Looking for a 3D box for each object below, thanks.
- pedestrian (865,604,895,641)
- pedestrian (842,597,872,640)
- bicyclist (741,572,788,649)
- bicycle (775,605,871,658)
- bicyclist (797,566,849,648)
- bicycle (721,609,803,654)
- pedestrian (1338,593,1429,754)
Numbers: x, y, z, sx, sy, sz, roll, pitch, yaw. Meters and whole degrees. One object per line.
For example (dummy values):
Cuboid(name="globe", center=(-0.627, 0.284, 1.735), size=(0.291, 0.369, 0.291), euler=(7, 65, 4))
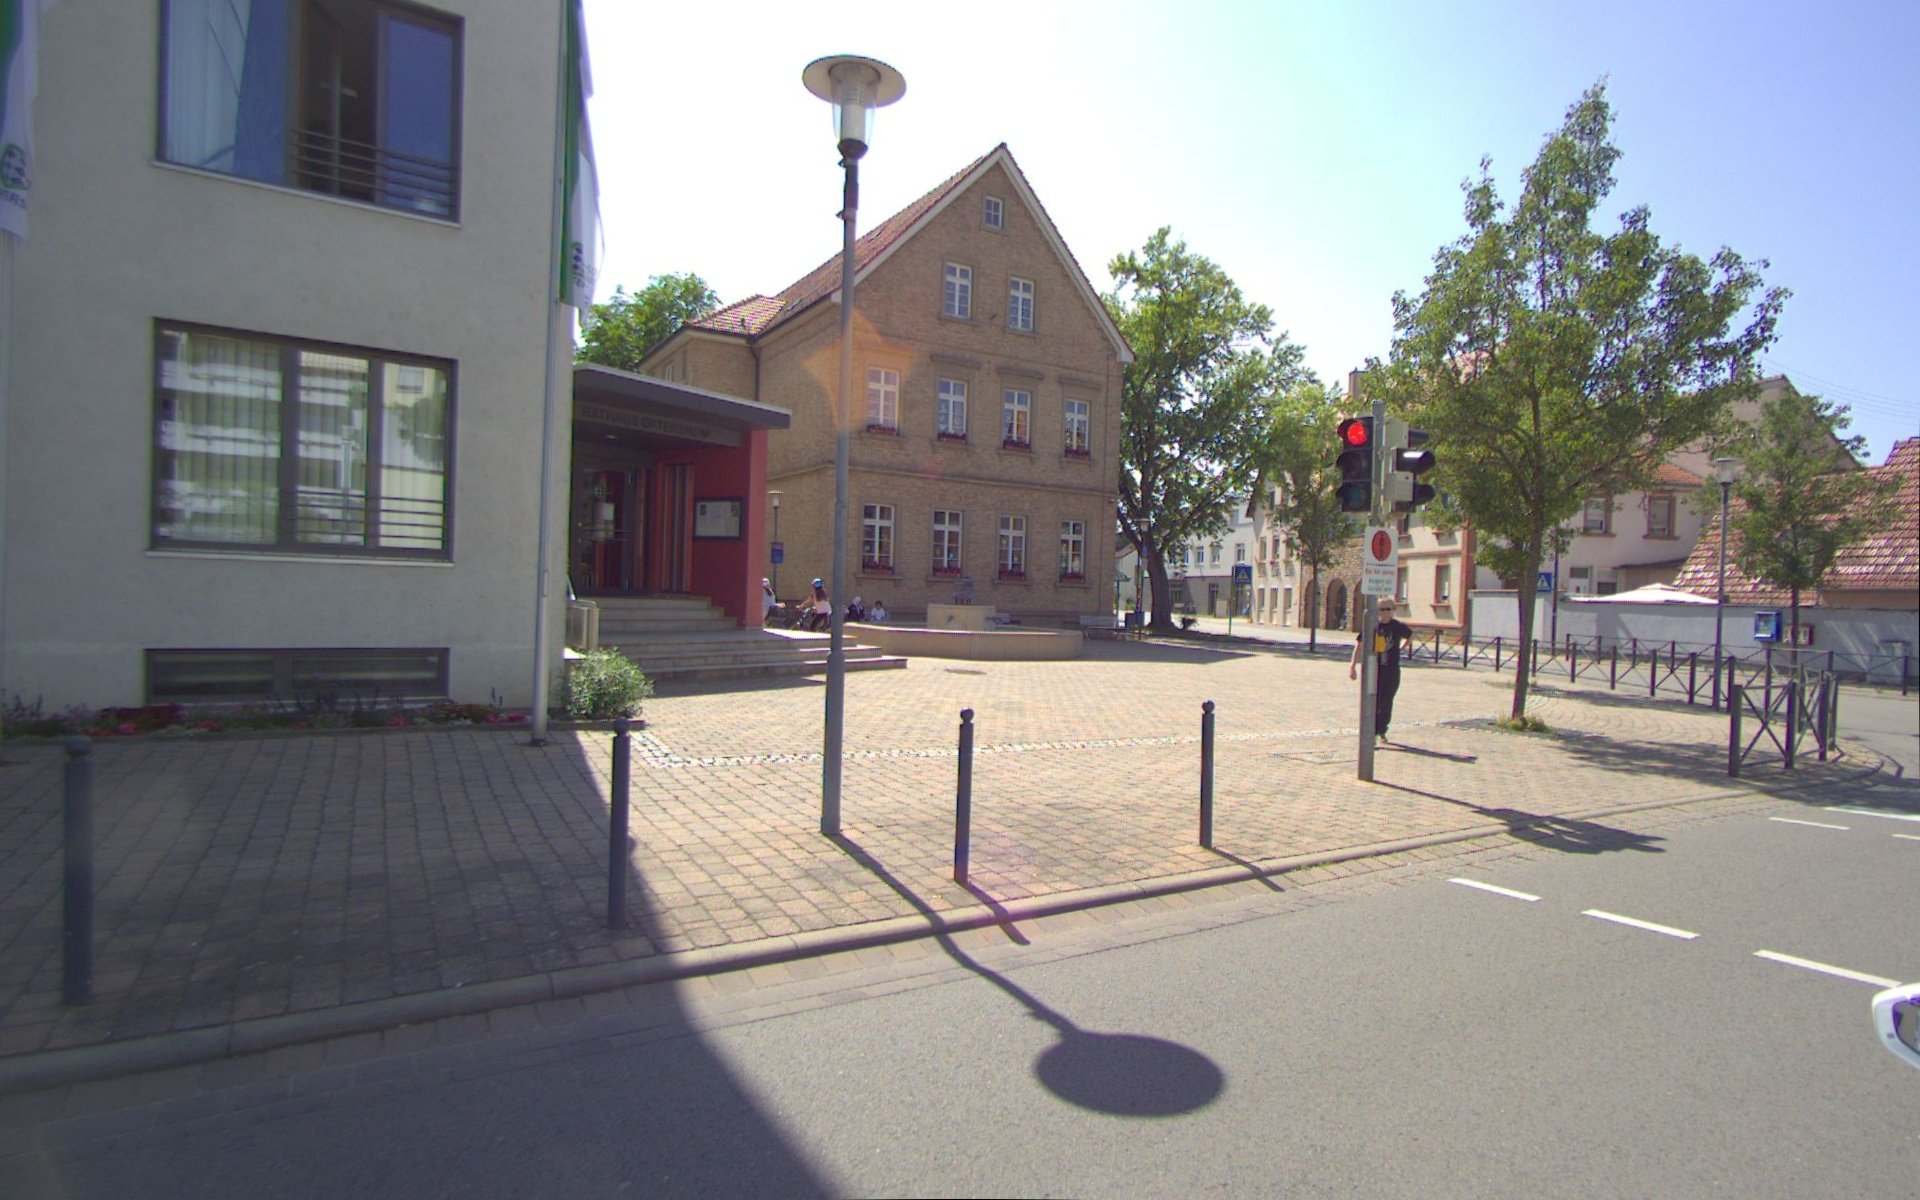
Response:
Cuboid(name="pedestrian", center=(-2.302, 0.655, 28.961), size=(0.611, 1.041, 0.636), euler=(2, 0, -29))
Cuboid(name="pedestrian", center=(-2.906, 0.524, 28.423), size=(0.611, 1.186, 0.636), euler=(2, 0, -29))
Cuboid(name="bicyclist", center=(-4.384, 0.231, 22.521), size=(0.748, 1.686, 0.669), euler=(0, -1, 31))
Cuboid(name="bicycle", center=(-2.793, 0.620, 20.375), size=(1.861, 0.970, 0.675), euler=(2, 0, 27))
Cuboid(name="bicyclist", center=(-2.771, 0.138, 20.351), size=(0.747, 1.603, 0.670), euler=(2, 1, 27))
Cuboid(name="bicycle", center=(-4.456, 0.688, 22.559), size=(1.863, 0.970, 0.674), euler=(0, -1, 32))
Cuboid(name="pedestrian", center=(4.709, 0.789, 11.219), size=(0.798, 1.676, 0.851), euler=(3, 1, 19))
